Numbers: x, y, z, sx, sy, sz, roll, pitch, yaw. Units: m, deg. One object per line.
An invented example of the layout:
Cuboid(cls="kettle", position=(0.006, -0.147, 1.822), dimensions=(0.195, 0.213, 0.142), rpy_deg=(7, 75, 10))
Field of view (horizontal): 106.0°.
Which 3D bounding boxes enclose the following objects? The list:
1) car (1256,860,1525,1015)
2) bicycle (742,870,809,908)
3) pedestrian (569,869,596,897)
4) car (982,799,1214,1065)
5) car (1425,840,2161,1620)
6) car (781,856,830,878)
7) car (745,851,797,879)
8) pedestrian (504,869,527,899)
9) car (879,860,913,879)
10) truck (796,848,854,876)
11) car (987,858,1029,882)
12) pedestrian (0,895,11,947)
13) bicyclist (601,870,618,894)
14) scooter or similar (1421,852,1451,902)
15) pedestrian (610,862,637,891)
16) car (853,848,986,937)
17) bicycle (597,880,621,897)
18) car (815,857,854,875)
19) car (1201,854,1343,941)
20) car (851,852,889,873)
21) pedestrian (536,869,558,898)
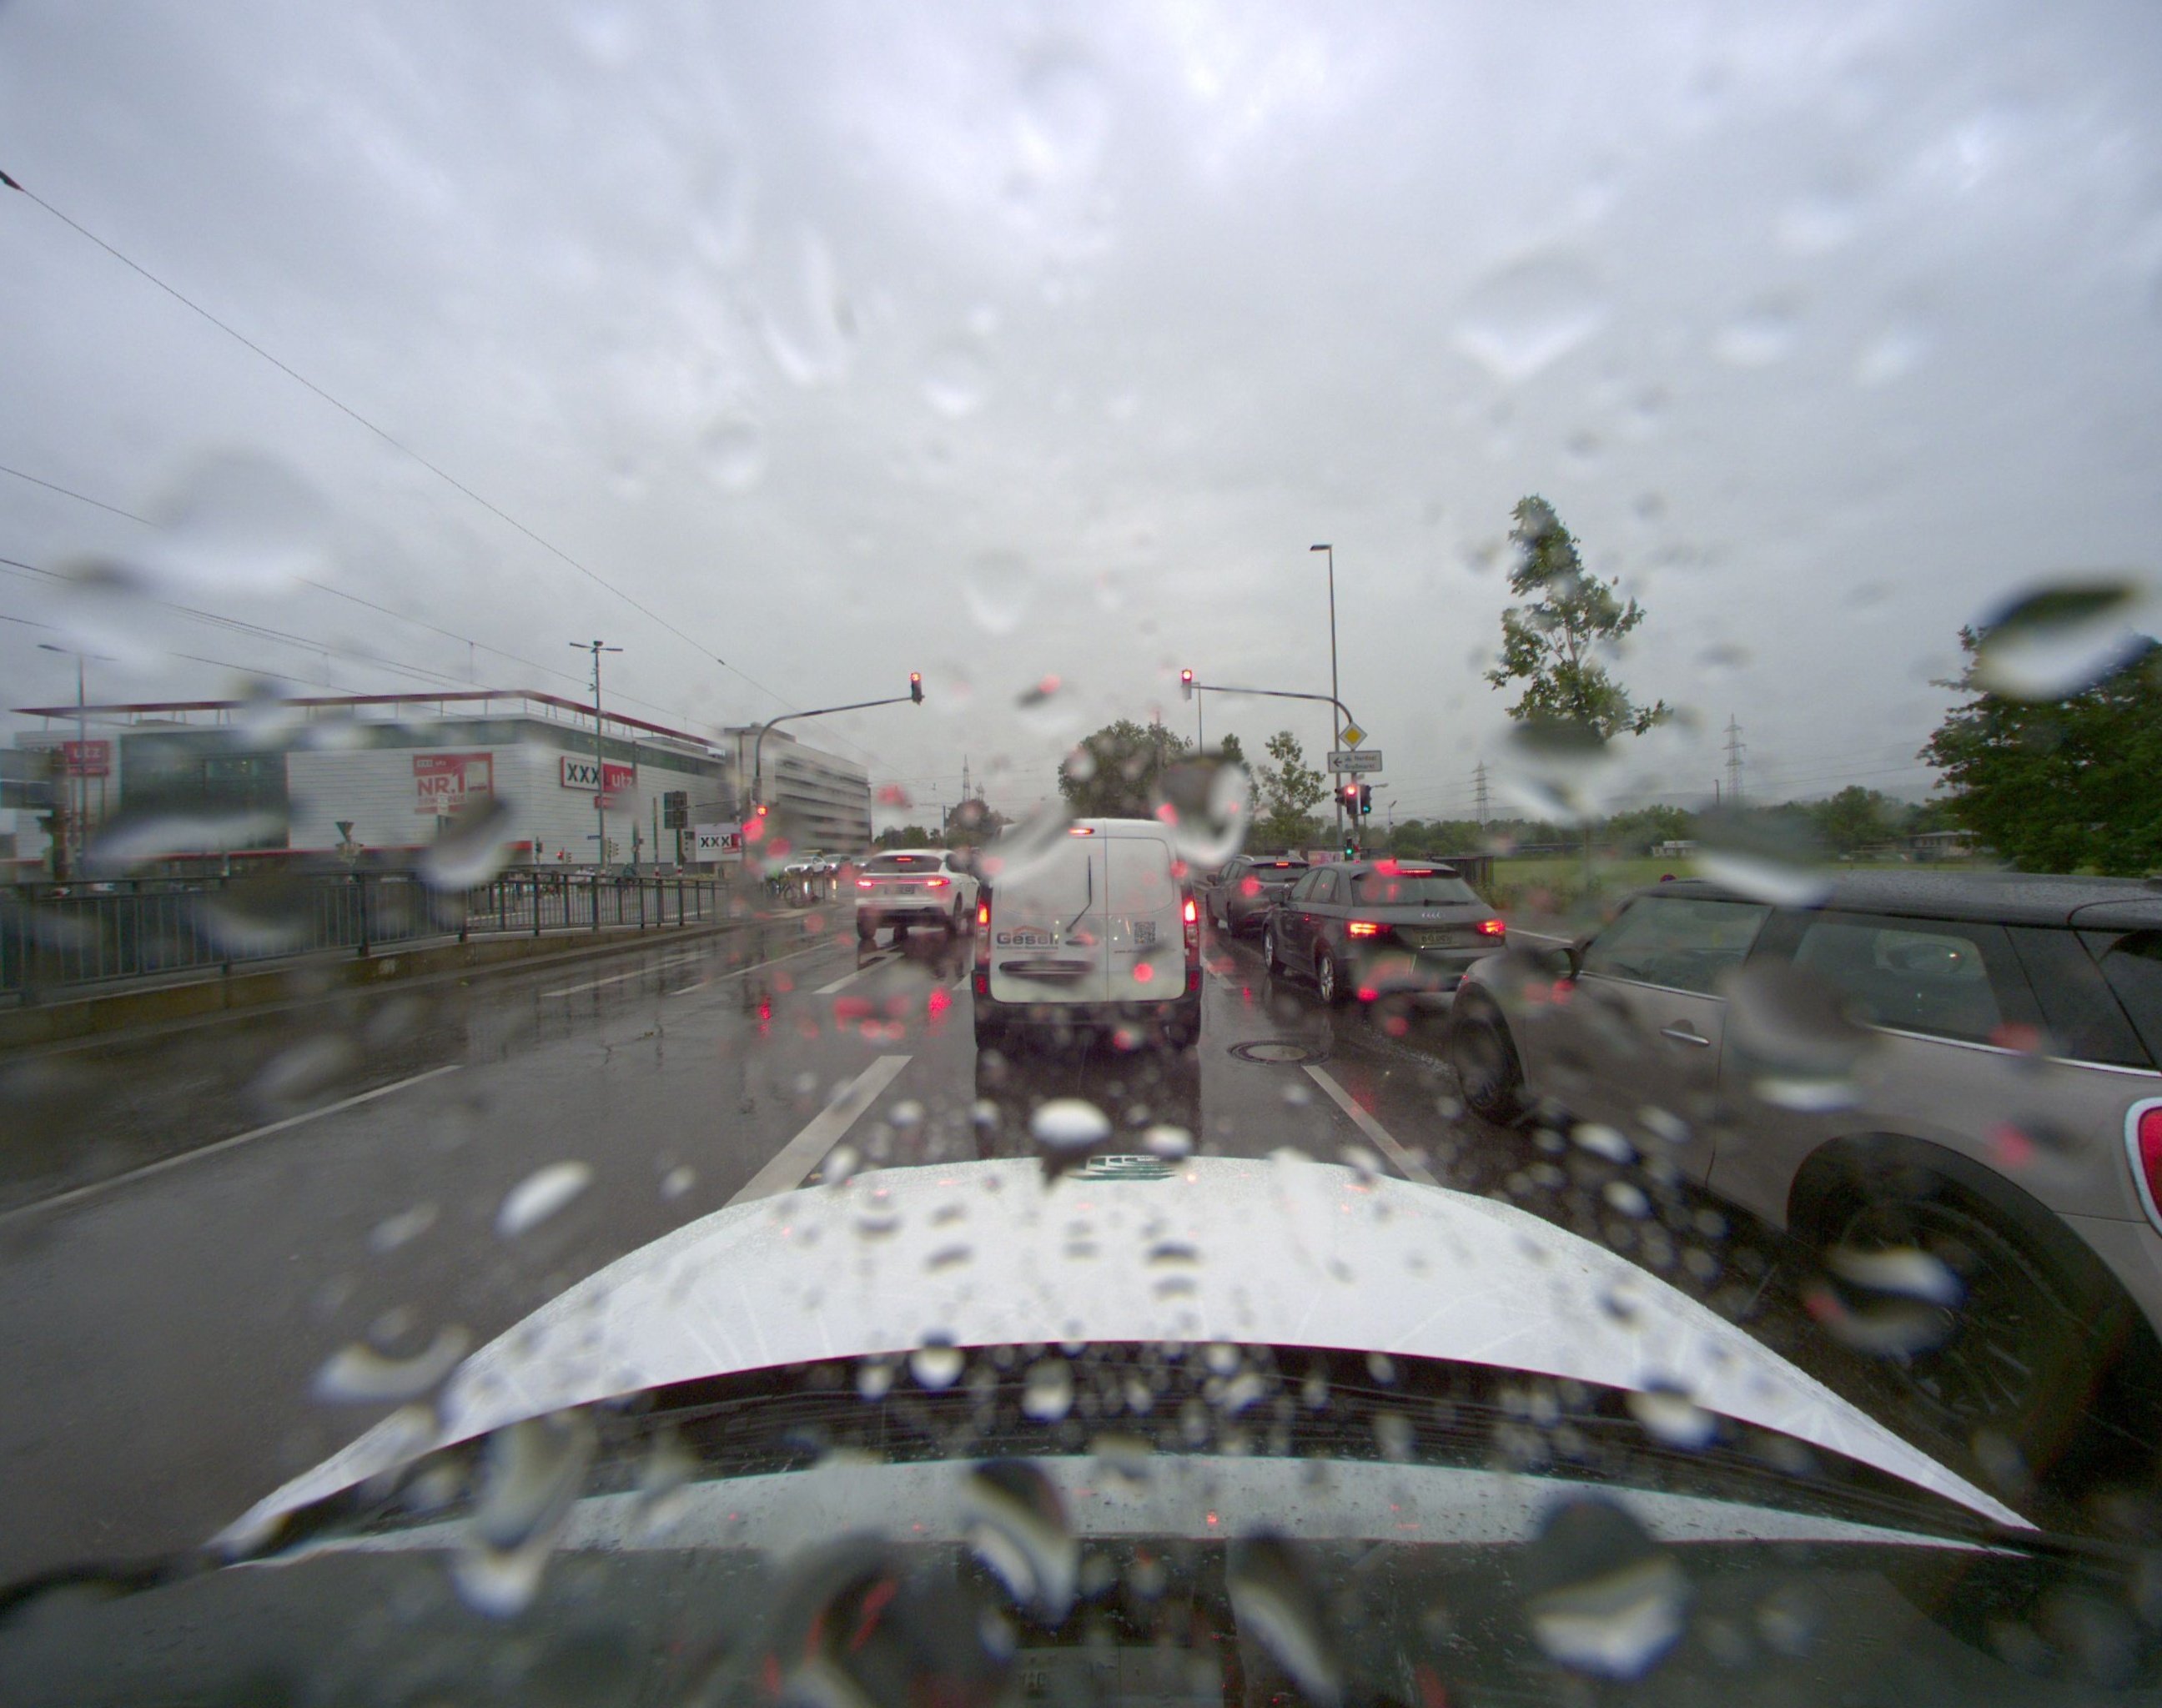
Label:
Cuboid(cls="car", position=(3.107, 0.743, 8.972), dimensions=(1.623, 1.344, 3.624), rpy_deg=(0, 0, 1))
Cuboid(cls="bicycle", position=(-8.914, 1.024, 23.797), dimensions=(1.745, 1.034, 0.414), rpy_deg=(2, -1, 0))
Cuboid(cls="pedestrian", position=(-29.439, 1.688, 48.082), dimensions=(1.013, 1.632, 1.091), rpy_deg=(-1, -1, 41))
Cuboid(cls="car", position=(0.180, 0.544, 7.563), dimensions=(1.560, 1.788, 4.002), rpy_deg=(-1, 0, 2))
Cuboid(cls="car", position=(2.963, 0.720, 3.237), dimensions=(1.707, 1.508, 3.624), rpy_deg=(0, 0, 1))
Cuboid(cls="car", position=(-19.506, 0.936, 57.834), dimensions=(1.689, 1.492, 3.884), rpy_deg=(-1, -1, 7))
Cuboid(cls="car", position=(-23.069, 0.784, 60.705), dimensions=(1.983, 2.014, 4.007), rpy_deg=(0, -1, 6))
Cuboid(cls="pedestrian", position=(-31.386, 1.648, 45.195), dimensions=(0.701, 1.632, 0.918), rpy_deg=(0, -1, -10))
Cuboid(cls="car", position=(-17.663, 1.473, 78.025), dimensions=(1.919, 1.827, 4.007), rpy_deg=(-1, -1, 6))
Cuboid(cls="truck", position=(-22.314, 0.688, 71.285), dimensions=(2.342, 2.279, 7.637), rpy_deg=(0, 0, 2))
Cuboid(cls="car", position=(-4.685, 0.994, 52.738), dimensions=(1.603, 1.503, 3.728), rpy_deg=(-1, -1, 13))
Cuboid(cls="pedestrian", position=(-32.420, 2.002, 24.021), dimensions=(0.561, 1.537, 0.872), rpy_deg=(0, -1, 1))
Cuboid(cls="bicyclist", position=(-28.742, 1.714, 49.635), dimensions=(0.681, 1.464, 0.647), rpy_deg=(0, -1, 3))
Cuboid(cls="scooter or similar", position=(8.443, 0.539, 19.394), dimensions=(0.244, 1.158, 1.187), rpy_deg=(0, -1, 3))
Cuboid(cls="pedestrian", position=(-26.639, 1.316, 47.451), dimensions=(0.912, 1.632, 1.015), rpy_deg=(-1, -1, 12))
Cuboid(cls="car", position=(-3.057, 0.653, 16.297), dimensions=(1.723, 1.535, 4.298), rpy_deg=(0, 0, 1))
Cuboid(cls="bicycle", position=(-28.757, 2.075, 49.655), dimensions=(0.448, 0.987, 1.709), rpy_deg=(0, -1, 2))
Cuboid(cls="car", position=(-19.248, 0.915, 63.733), dimensions=(1.579, 1.336, 3.837), rpy_deg=(-1, -1, 6))
Cuboid(cls="car", position=(3.488, 0.733, 15.571), dimensions=(1.853, 1.428, 3.808), rpy_deg=(0, 0, 1))
Cuboid(cls="car", position=(-18.331, 0.726, 70.777), dimensions=(1.883, 1.699, 4.006), rpy_deg=(0, -1, 6))
Cuboid(cls="pedestrian", position=(-29.814, 1.633, 45.490), dimensions=(0.701, 1.632, 0.918), rpy_deg=(0, -1, -10))
